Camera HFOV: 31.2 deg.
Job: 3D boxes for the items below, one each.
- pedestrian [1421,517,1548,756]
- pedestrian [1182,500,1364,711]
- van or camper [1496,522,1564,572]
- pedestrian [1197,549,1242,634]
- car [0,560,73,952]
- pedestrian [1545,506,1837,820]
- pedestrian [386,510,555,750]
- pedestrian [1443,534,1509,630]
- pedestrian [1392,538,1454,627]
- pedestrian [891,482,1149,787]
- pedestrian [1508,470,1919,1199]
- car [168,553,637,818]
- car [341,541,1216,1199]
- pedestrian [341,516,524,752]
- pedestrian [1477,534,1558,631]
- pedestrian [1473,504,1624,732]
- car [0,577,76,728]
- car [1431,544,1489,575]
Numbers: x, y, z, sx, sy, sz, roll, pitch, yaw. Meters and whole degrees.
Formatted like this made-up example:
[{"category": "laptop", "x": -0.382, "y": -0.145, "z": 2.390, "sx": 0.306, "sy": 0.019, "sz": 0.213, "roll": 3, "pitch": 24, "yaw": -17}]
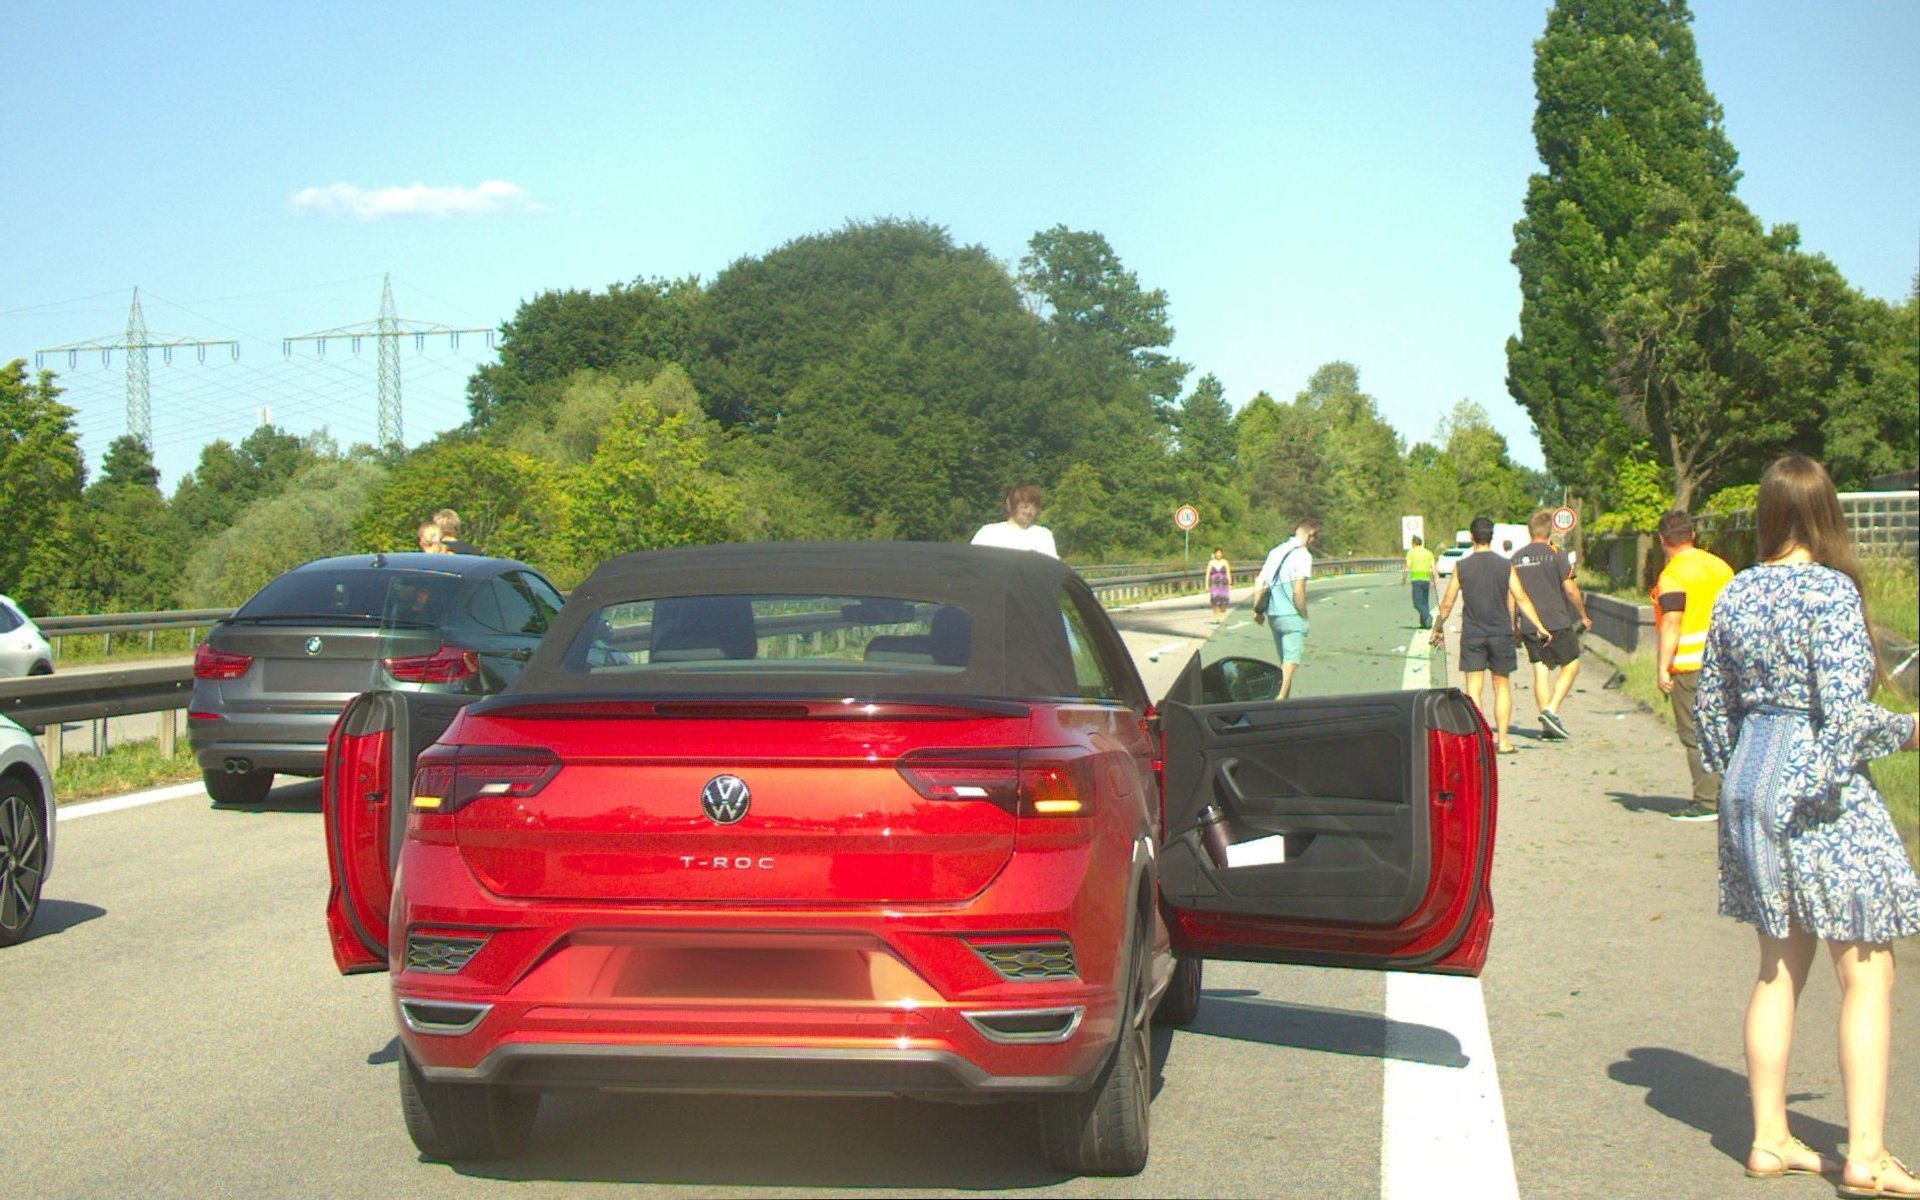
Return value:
[{"category": "pedestrian", "x": 3.831, "y": 0.257, "z": 25.163, "sx": 0.895, "sy": 1.719, "sz": 0.754, "roll": 0, "pitch": 0, "yaw": 8}, {"category": "pedestrian", "x": 2.703, "y": 0.039, "z": 29.733, "sx": 1.088, "sy": 1.782, "sz": 1.107, "roll": 0, "pitch": 1, "yaw": -37}, {"category": "van or camper", "x": 26.410, "y": -2.444, "z": 159.200, "sx": 1.996, "sy": 2.308, "sz": 4.464, "roll": 1, "pitch": 1, "yaw": 25}, {"category": "pedestrian", "x": 5.208, "y": -0.172, "z": 68.911, "sx": 0.792, "sy": 1.683, "sz": 0.792, "roll": 1, "pitch": 0, "yaw": 12}, {"category": "car", "x": -4.540, "y": 0.596, "z": 11.365, "sx": 1.695, "sy": 1.436, "sz": 4.209, "roll": 0, "pitch": 1, "yaw": 7}, {"category": "pedestrian", "x": 4.018, "y": 0.323, "z": 18.966, "sx": 0.957, "sy": 1.648, "sz": 1.278, "roll": -2, "pitch": 1, "yaw": -27}, {"category": "pedestrian", "x": -3.925, "y": 0.233, "z": 27.646, "sx": 1.065, "sy": 1.876, "sz": 1.093, "roll": -1, "pitch": 1, "yaw": 7}, {"category": "pedestrian", "x": 9.190, "y": -0.327, "z": 61.275, "sx": 1.114, "sy": 1.683, "sz": 0.973, "roll": 0, "pitch": 0, "yaw": 7}, {"category": "pedestrian", "x": 8.903, "y": -0.340, "z": 66.056, "sx": 1.056, "sy": 1.683, "sz": 1.016, "roll": 1, "pitch": 0, "yaw": 14}, {"category": "pedestrian", "x": 0.383, "y": 0.205, "z": 22.399, "sx": 1.106, "sy": 1.906, "sz": 1.257, "roll": -2, "pitch": 1, "yaw": -37}, {"category": "pedestrian", "x": 2.034, "y": 0.552, "z": 8.113, "sx": 1.125, "sy": 1.689, "sz": 0.892, "roll": -2, "pitch": 1, "yaw": -33}, {"category": "car", "x": -3.279, "y": 0.437, "z": 21.073, "sx": 1.695, "sy": 1.421, "sz": 4.333, "roll": 0, "pitch": 1, "yaw": 7}, {"category": "car", "x": -0.255, "y": 0.581, "z": 9.595, "sx": 1.733, "sy": 1.482, "sz": 4.209, "roll": 0, "pitch": 1, "yaw": 7}, {"category": "pedestrian", "x": -4.041, "y": 0.252, "z": 26.416, "sx": 1.115, "sy": 1.757, "sz": 1.044, "roll": -1, "pitch": 1, "yaw": 6}, {"category": "pedestrian", "x": 9.845, "y": -0.312, "z": 60.731, "sx": 1.007, "sy": 1.683, "sz": 0.999, "roll": 0, "pitch": 1, "yaw": -24}, {"category": "pedestrian", "x": 4.624, "y": 0.135, "z": 27.018, "sx": 0.812, "sy": 1.753, "sz": 0.828, "roll": 0, "pitch": 1, "yaw": -41}, {"category": "car", "x": -10.129, "y": 0.520, "z": 32.753, "sx": 1.695, "sy": 1.421, "sz": 4.303, "roll": 0, "pitch": 1, "yaw": 10}, {"category": "car", "x": 24.223, "y": -1.981, "z": 166.399, "sx": 1.734, "sy": 1.482, "sz": 4.205, "roll": 1, "pitch": 1, "yaw": 24}]
